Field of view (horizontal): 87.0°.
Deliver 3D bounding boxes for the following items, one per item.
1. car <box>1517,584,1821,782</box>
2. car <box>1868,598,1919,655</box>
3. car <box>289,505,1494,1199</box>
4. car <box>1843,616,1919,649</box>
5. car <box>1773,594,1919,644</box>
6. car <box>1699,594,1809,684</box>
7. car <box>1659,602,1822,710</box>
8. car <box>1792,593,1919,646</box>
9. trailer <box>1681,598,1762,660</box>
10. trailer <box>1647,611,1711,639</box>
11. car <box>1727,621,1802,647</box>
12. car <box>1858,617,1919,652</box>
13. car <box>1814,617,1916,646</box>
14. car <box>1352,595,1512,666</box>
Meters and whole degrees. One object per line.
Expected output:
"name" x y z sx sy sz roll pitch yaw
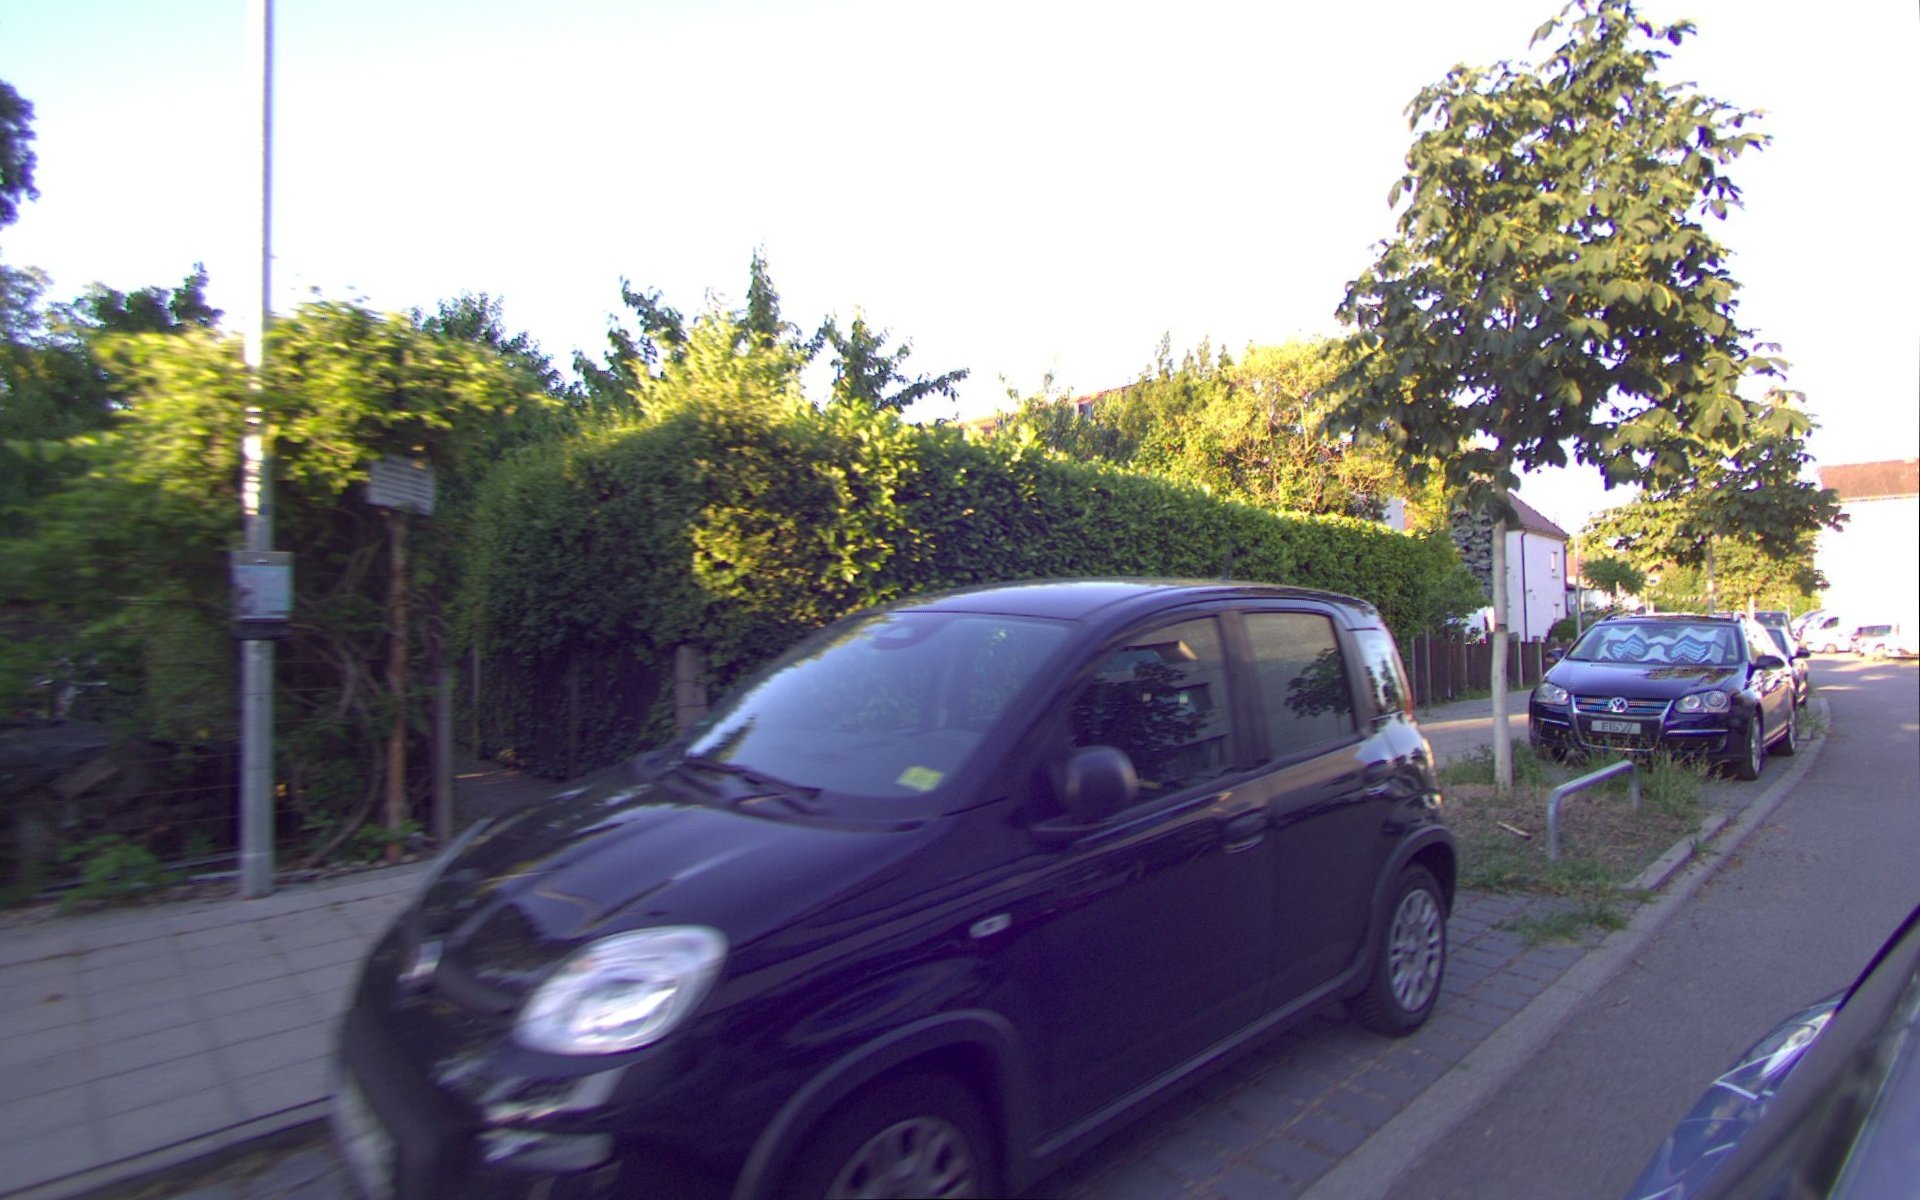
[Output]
"car" 7.288 0.718 10.210 4.473 1.570 1.711 2 -3 -45
"car" 45.733 1.094 46.224 5.861 2.567 2.383 -4 -3 33
"car" 0.108 0.648 3.099 3.435 1.529 1.579 0 -1 -41
"car" 48.265 1.670 52.147 3.912 1.611 1.725 -3 -3 36
"car" 55.089 1.191 63.047 6.329 2.748 2.098 -4 -2 21
"car" 20.870 1.001 26.545 2.062 2.122 4.801 -2 -2 40
"car" 12.856 0.866 16.601 1.740 1.572 3.582 -2 -3 44
"car" 52.802 1.169 59.277 5.783 2.749 2.032 -4 -4 26
"trailer" 29.719 1.127 39.628 2.055 2.240 5.161 -1 -2 32
"trailer" 70.633 2.445 99.463 4.763 2.464 2.113 -3 -2 29
"car" 58.552 2.496 73.762 3.904 1.674 1.729 -4 -4 30
"car" 47.495 1.645 50.107 4.101 1.611 1.730 -4 -3 29
"car" 51.194 1.802 57.358 3.901 1.527 1.772 -3 -2 28
"car" 19.198 1.302 41.373 5.558 2.728 2.021 -3 -5 42
